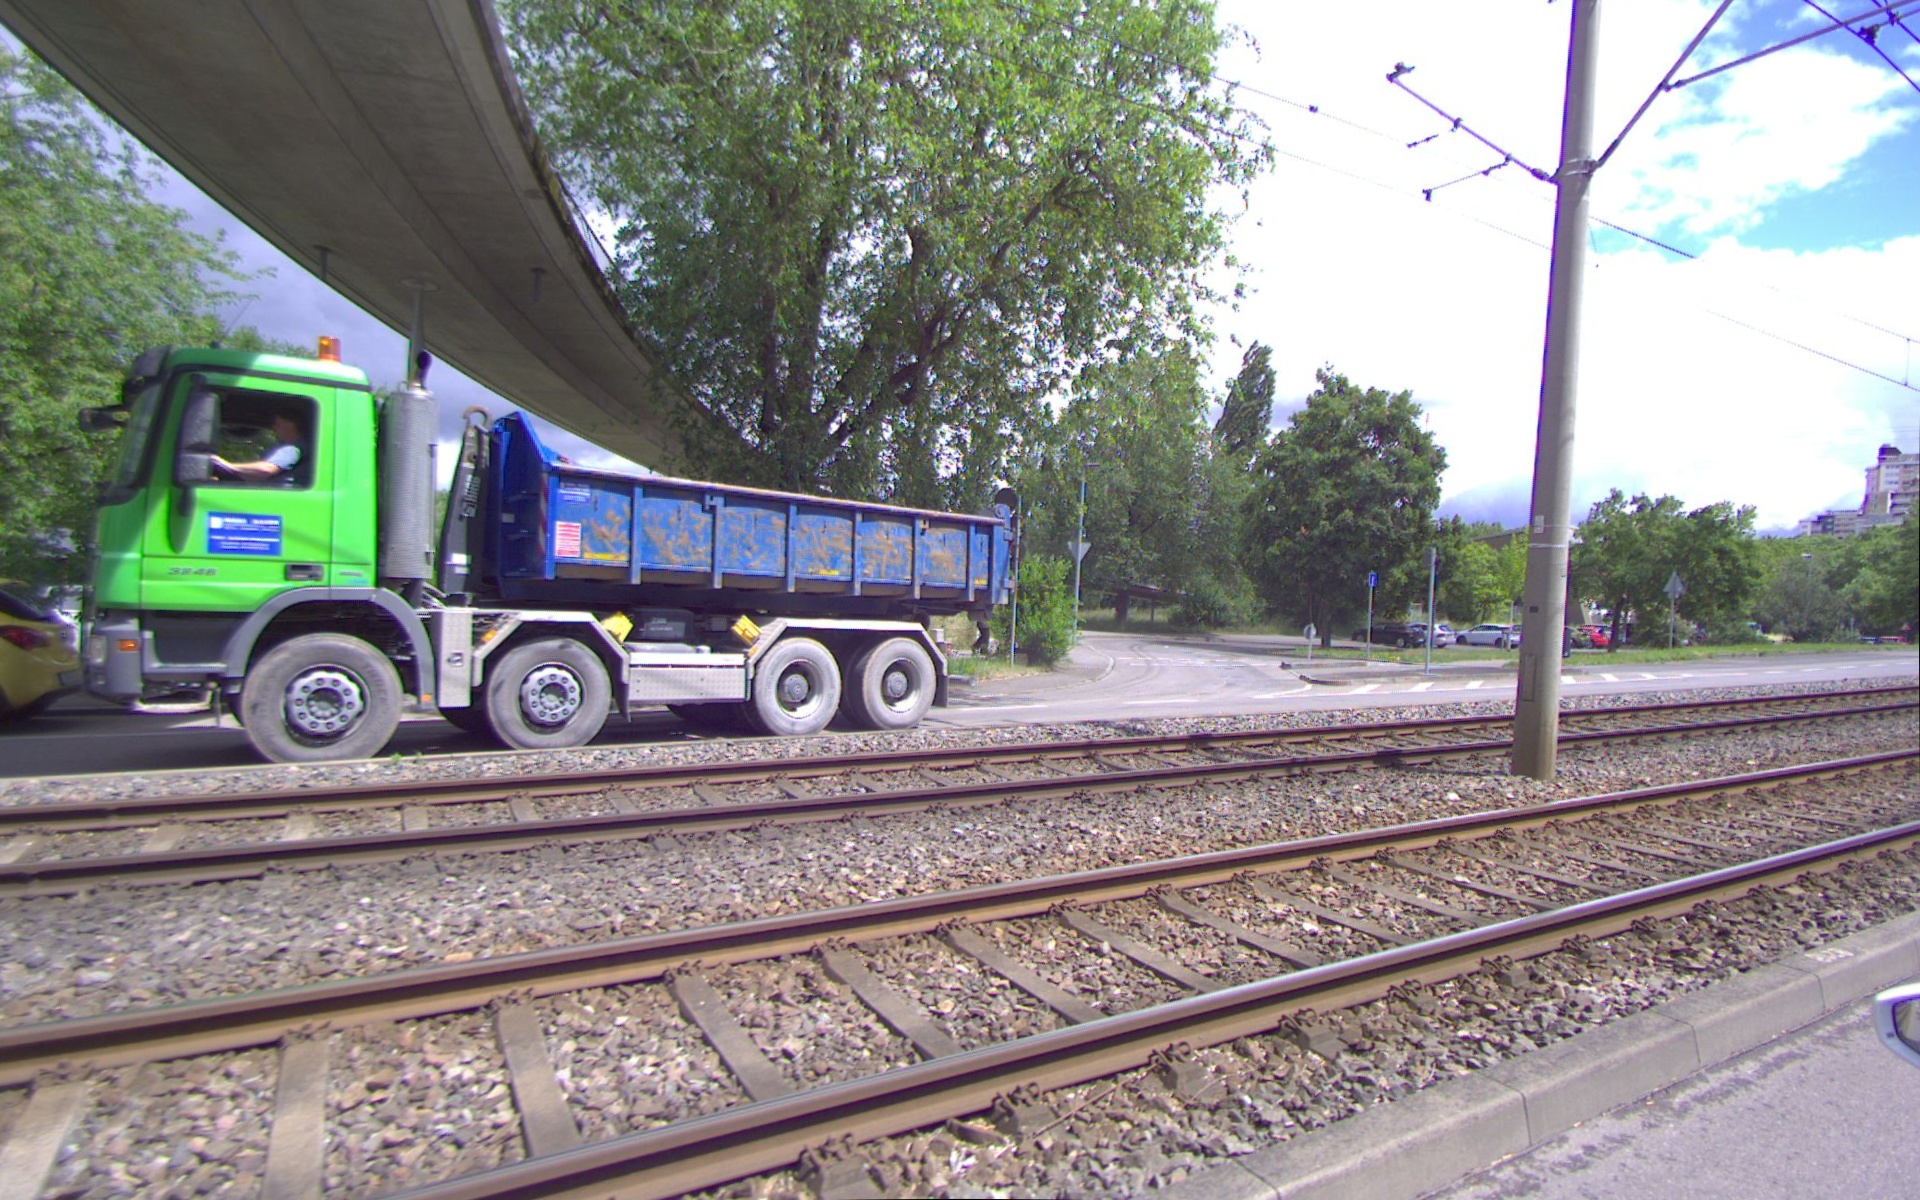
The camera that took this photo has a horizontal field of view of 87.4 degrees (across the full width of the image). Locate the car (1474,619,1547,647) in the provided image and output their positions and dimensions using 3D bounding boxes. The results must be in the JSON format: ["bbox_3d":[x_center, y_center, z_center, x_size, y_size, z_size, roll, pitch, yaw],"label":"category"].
[{"bbox_3d":[37.184,2.232,67.907,1.845,1.601,3.939,1,2,-27],"label":"car"}]

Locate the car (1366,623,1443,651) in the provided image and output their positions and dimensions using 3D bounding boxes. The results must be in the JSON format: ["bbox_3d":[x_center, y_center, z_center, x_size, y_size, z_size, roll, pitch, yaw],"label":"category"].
[{"bbox_3d":[26.302,2.167,59.560,1.754,1.293,3.951,4,1,-25],"label":"car"}]

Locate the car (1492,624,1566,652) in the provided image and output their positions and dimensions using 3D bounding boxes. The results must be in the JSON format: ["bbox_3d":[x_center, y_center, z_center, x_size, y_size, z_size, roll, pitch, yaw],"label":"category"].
[{"bbox_3d":[38.976,2.554,68.855,1.968,1.601,3.939,1,2,-27],"label":"car"}]

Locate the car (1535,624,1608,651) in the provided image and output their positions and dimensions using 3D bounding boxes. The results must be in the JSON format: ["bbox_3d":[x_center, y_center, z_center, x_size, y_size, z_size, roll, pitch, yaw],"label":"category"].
[{"bbox_3d":[43.366,2.624,71.270,1.970,1.601,3.939,1,2,-27],"label":"car"}]

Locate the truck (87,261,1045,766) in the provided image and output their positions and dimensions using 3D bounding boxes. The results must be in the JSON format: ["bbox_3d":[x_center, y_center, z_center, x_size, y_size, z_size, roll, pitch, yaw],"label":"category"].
[{"bbox_3d":[-3.306,-0.481,10.741,8.962,3.364,2.845,3,2,-41],"label":"truck"}]

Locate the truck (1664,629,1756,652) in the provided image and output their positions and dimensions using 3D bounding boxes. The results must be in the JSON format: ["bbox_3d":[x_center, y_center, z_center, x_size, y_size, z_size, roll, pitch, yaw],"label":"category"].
[{"bbox_3d":[94.466,5.030,126.750,8.946,2.731,2.614,0,-1,24],"label":"truck"}]

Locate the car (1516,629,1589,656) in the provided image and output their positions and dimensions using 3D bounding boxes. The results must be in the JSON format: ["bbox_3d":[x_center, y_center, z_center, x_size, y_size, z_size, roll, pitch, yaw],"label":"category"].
[{"bbox_3d":[41.442,2.948,70.324,1.970,1.601,3.939,1,2,-27],"label":"car"}]

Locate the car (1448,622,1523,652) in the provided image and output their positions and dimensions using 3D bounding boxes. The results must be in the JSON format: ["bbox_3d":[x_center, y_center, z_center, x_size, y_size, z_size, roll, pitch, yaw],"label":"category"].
[{"bbox_3d":[33.971,2.359,64.987,1.825,1.601,3.887,0,2,-36],"label":"car"}]

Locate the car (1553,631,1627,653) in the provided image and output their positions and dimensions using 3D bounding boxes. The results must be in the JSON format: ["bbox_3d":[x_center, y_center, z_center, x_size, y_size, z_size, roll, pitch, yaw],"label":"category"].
[{"bbox_3d":[45.554,2.992,72.693,1.970,1.269,4.066,1,2,-27],"label":"car"}]

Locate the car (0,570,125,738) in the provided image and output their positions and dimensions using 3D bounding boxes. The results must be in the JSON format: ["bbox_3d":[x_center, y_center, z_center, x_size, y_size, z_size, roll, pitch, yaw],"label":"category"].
[{"bbox_3d":[-10.395,0.398,9.218,3.851,1.469,1.682,4,1,-28],"label":"car"}]

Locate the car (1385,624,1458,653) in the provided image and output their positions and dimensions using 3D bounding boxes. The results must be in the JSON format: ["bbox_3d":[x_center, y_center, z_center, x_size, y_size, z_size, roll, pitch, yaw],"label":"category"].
[{"bbox_3d":[27.900,2.295,60.827,1.553,1.409,3.856,4,1,-25],"label":"car"}]

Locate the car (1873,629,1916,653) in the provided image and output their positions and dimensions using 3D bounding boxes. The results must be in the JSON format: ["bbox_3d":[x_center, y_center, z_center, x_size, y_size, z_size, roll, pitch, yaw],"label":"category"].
[{"bbox_3d":[75.631,3.289,81.283,3.961,1.795,1.803,1,0,-36],"label":"car"}]
